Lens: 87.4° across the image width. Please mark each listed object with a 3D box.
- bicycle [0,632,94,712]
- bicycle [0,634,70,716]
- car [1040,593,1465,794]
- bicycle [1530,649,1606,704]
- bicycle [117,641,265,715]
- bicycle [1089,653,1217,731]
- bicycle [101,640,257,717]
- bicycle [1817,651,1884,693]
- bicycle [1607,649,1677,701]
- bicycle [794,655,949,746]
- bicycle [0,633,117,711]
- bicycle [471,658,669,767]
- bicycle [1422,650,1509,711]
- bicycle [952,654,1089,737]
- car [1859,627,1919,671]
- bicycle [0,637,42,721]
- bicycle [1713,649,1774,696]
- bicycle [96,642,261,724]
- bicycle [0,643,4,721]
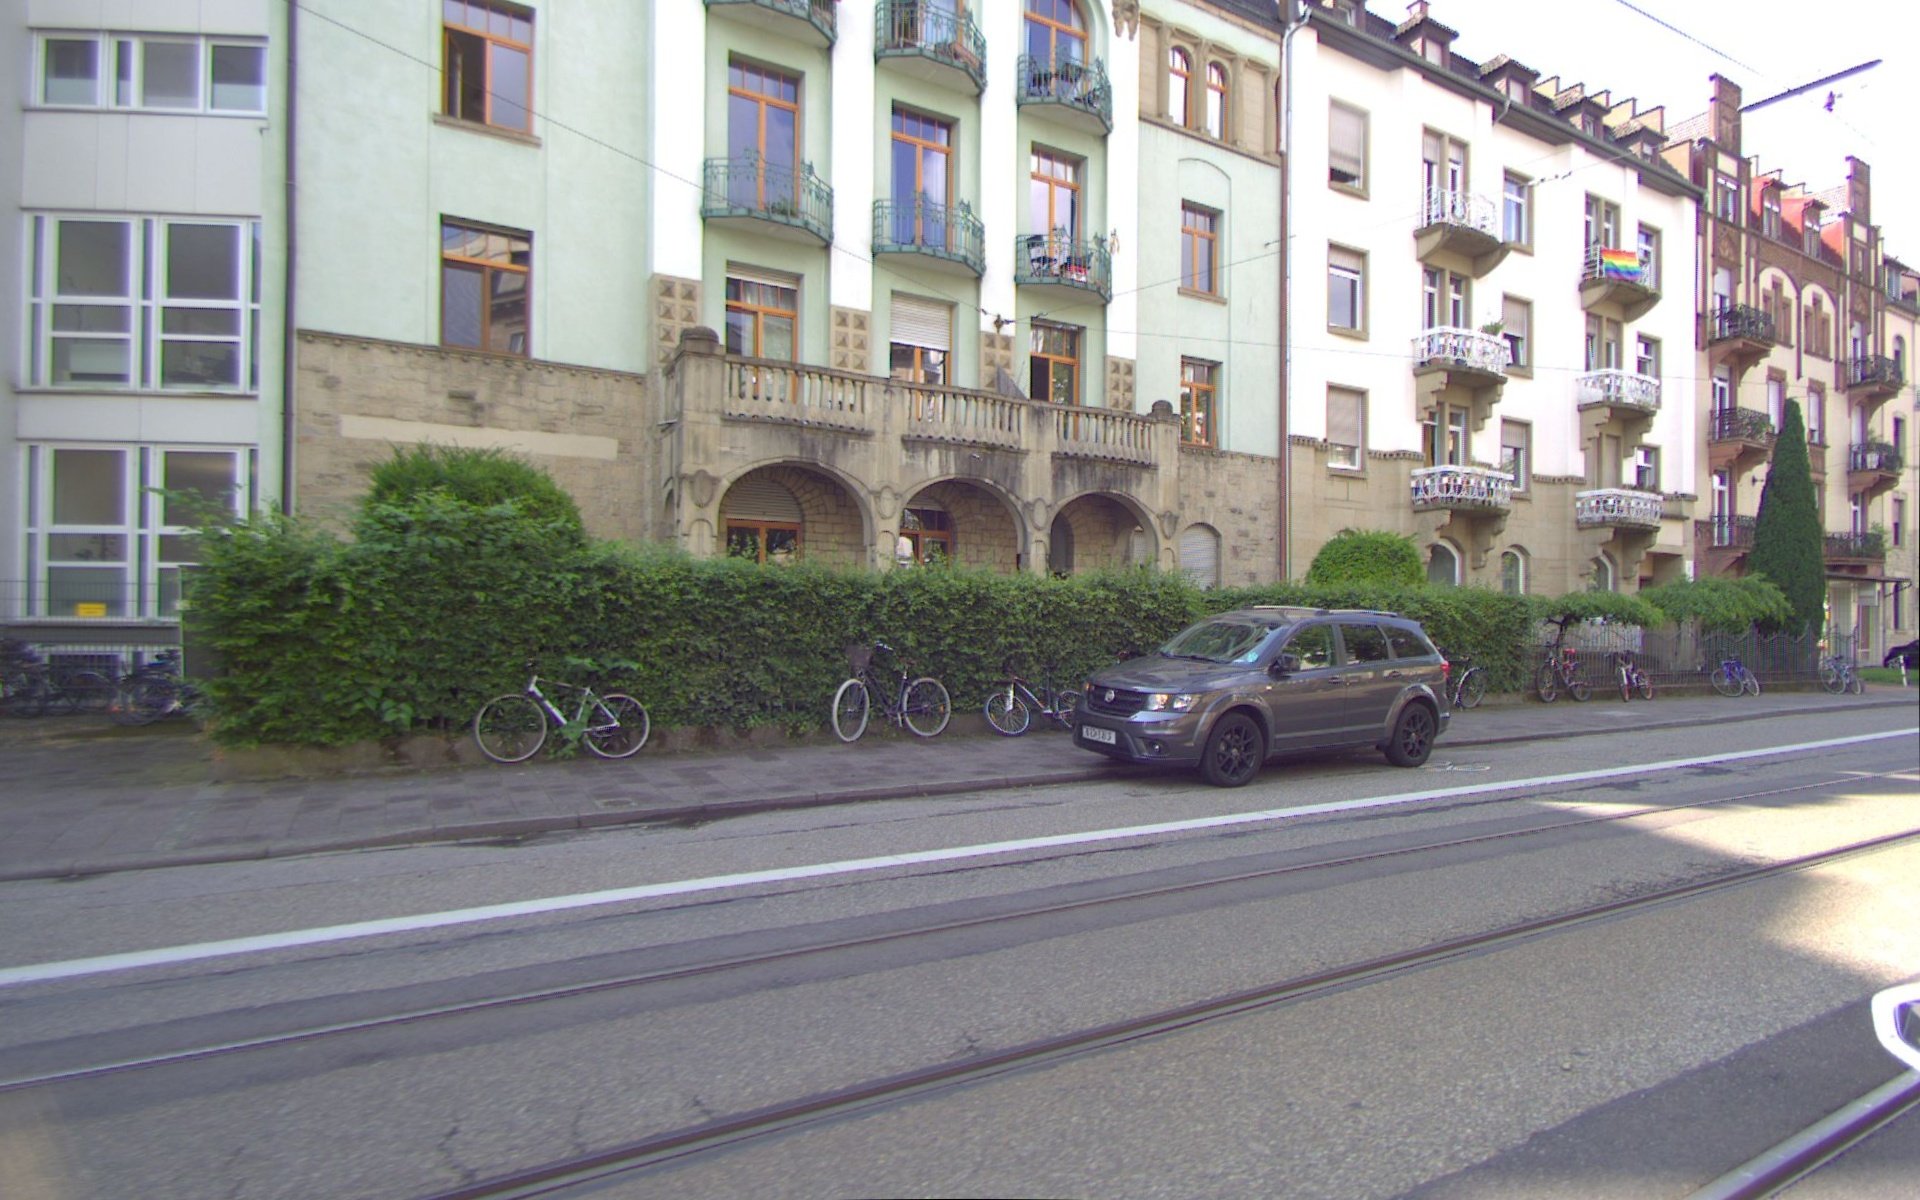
[{"bbox_3d":[-14.227,1.080,15.231,1.775,1.160,0.384,1,1,-3],"label":"bicycle"},{"bbox_3d":[-14.194,1.083,14.781,1.775,1.160,0.384,1,1,-3],"label":"bicycle"},{"bbox_3d":[3.334,0.896,11.031,4.830,1.786,1.775,1,-2,-33],"label":"car"},{"bbox_3d":[11.541,1.436,19.045,1.779,0.972,0.381,1,1,-29],"label":"bicycle"},{"bbox_3d":[-11.912,1.191,15.624,1.790,1.078,0.380,1,1,-32],"label":"bicycle"},{"bbox_3d":[2.647,1.229,13.701,1.897,0.972,0.381,1,1,-29],"label":"bicycle"},{"bbox_3d":[-11.556,1.142,14.925,1.790,1.078,0.380,1,1,-32],"label":"bicycle"},{"bbox_3d":[22.244,1.801,25.093,1.790,0.972,0.510,3,1,-24],"label":"bicycle"},{"bbox_3d":[13.718,1.488,20.179,1.779,0.988,0.381,1,1,-29],"label":"bicycle"},{"bbox_3d":[-1.007,1.143,11.675,1.787,0.972,0.381,1,1,-29],"label":"bicycle"},{"bbox_3d":[-14.240,1.114,15.681,1.775,1.160,0.384,1,1,-3],"label":"bicycle"},{"bbox_3d":[-3.837,1.081,9.946,1.787,0.972,0.381,1,1,-29],"label":"bicycle"},{"bbox_3d":[8.707,1.368,17.275,1.780,0.972,0.449,1,0,-31],"label":"bicycle"},{"bbox_3d":[0.785,1.180,12.703,1.787,0.972,0.381,1,1,-29],"label":"bicycle"},{"bbox_3d":[35.616,1.834,37.059,1.657,1.533,3.225,2,0,-26],"label":"car"},{"bbox_3d":[-14.206,1.103,14.334,1.775,1.160,0.384,1,1,-3],"label":"bicycle"},{"bbox_3d":[17.469,1.602,22.377,1.684,0.972,0.424,1,1,-29],"label":"bicycle"},{"bbox_3d":[-10.937,1.141,14.121,1.790,1.078,0.380,1,1,-32],"label":"bicycle"},{"bbox_3d":[-14.175,1.121,13.733,1.775,1.078,0.384,1,1,-3],"label":"bicycle"}]
